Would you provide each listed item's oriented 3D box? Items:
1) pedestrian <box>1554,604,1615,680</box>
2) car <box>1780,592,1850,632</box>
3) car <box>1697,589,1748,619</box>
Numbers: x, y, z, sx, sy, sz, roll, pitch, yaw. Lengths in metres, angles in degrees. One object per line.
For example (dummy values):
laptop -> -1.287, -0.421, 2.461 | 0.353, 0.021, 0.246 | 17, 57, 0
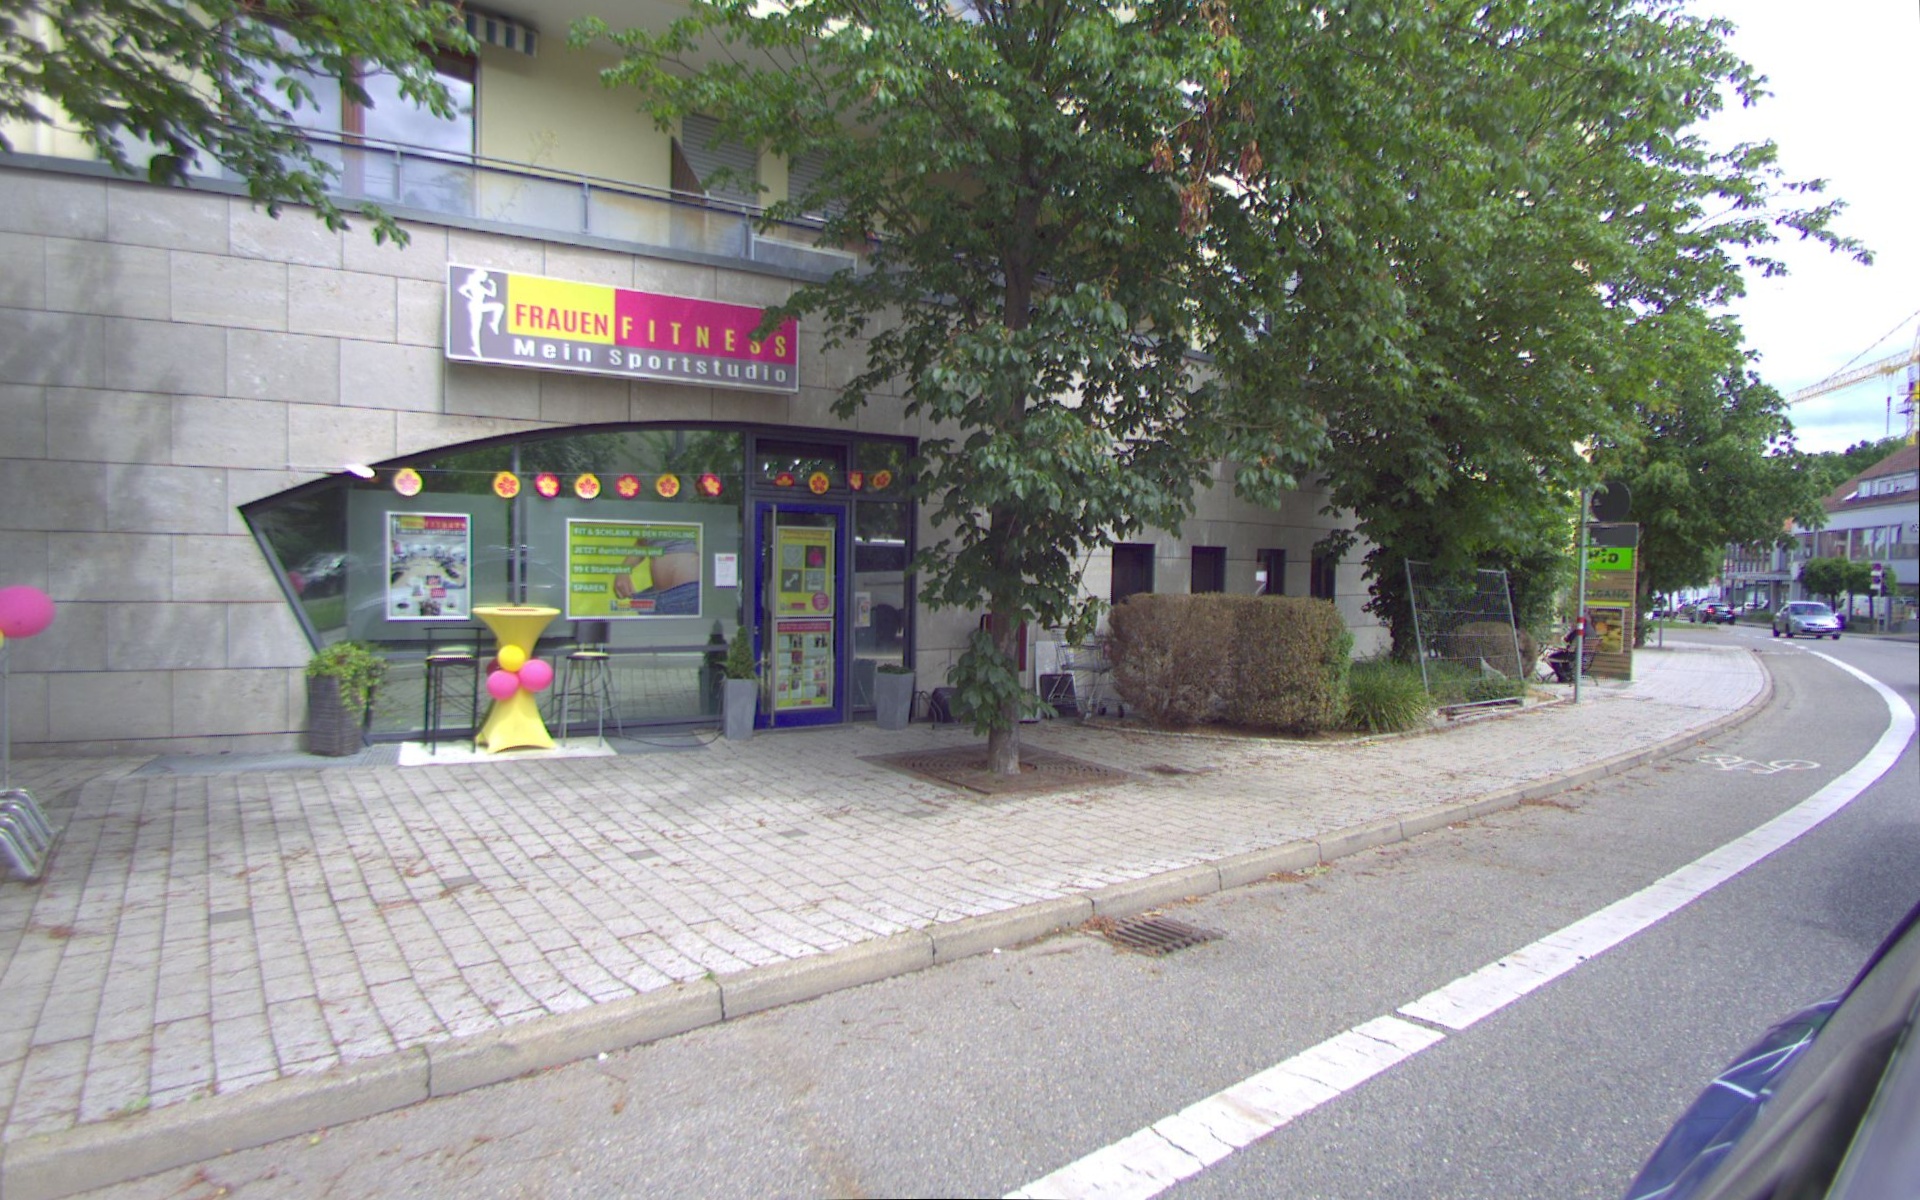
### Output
pedestrian -> 11.377, 0.750, 18.430 | 0.741, 1.317, 0.730 | 0, 2, -41
car -> 34.914, 0.455, 41.413 | 1.682, 1.505, 3.953 | -1, 0, 33
car -> 51.364, 0.214, 68.266 | 1.722, 1.874, 3.970 | 2, 2, 23
